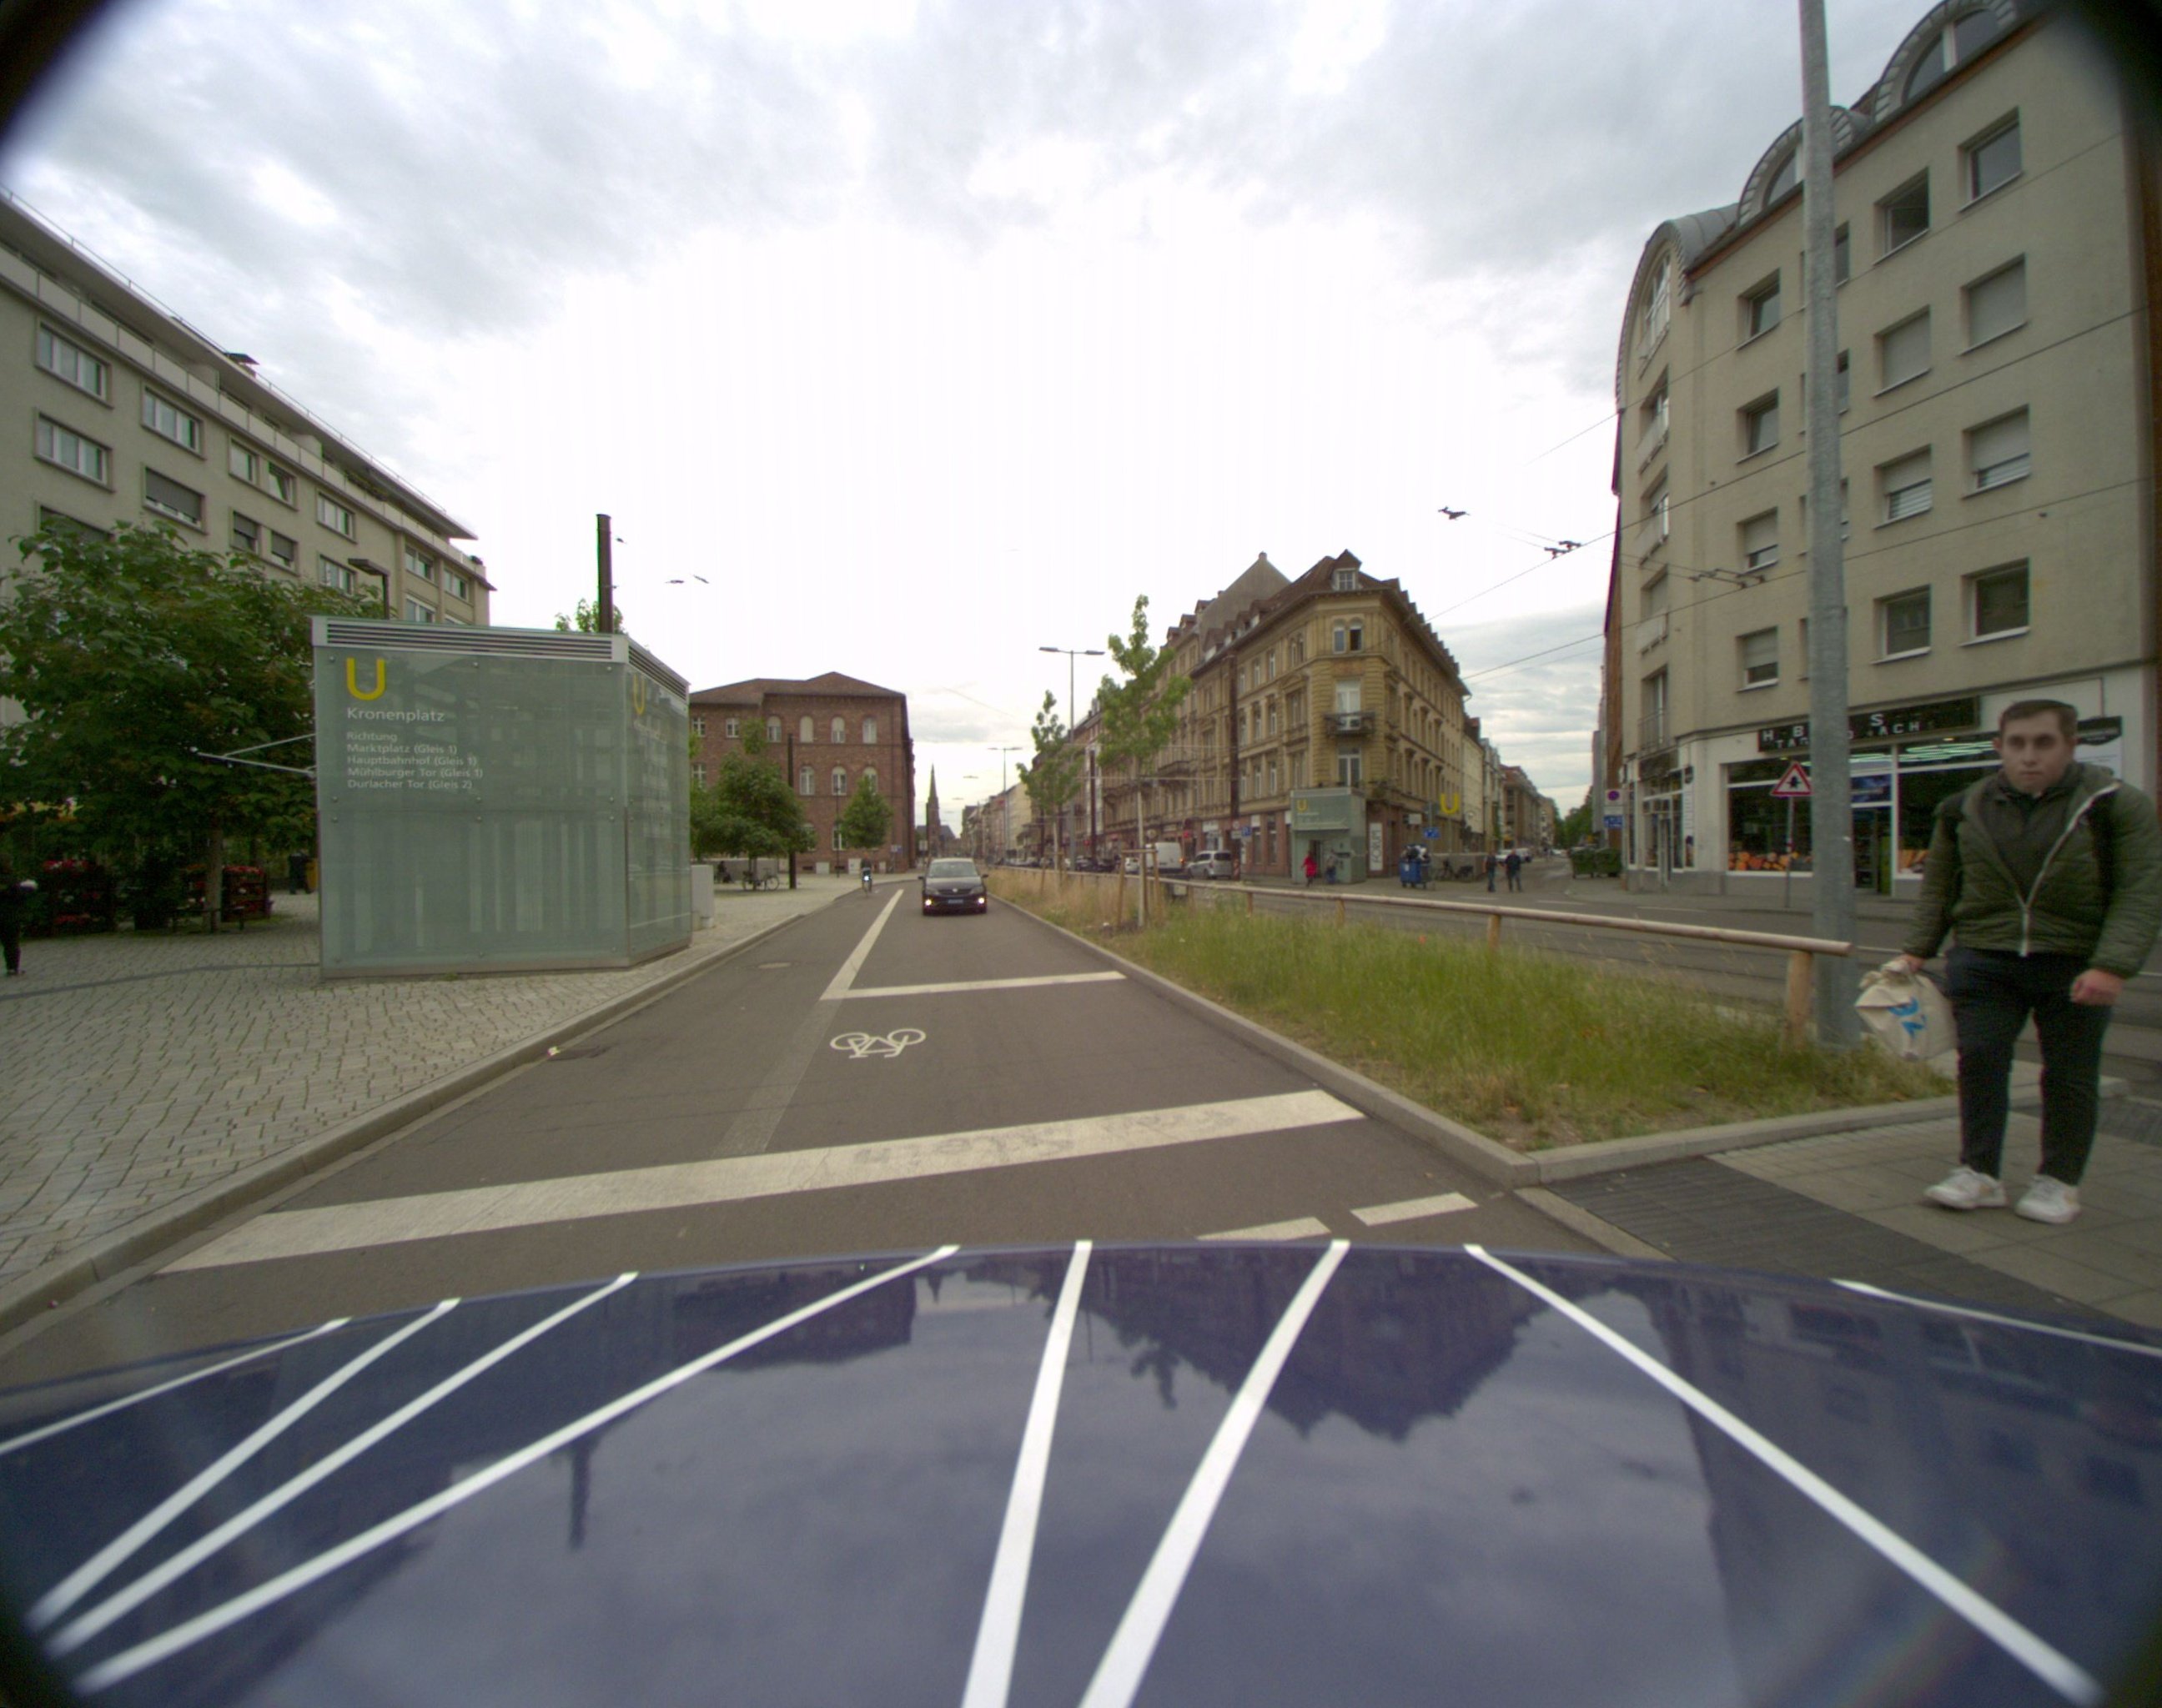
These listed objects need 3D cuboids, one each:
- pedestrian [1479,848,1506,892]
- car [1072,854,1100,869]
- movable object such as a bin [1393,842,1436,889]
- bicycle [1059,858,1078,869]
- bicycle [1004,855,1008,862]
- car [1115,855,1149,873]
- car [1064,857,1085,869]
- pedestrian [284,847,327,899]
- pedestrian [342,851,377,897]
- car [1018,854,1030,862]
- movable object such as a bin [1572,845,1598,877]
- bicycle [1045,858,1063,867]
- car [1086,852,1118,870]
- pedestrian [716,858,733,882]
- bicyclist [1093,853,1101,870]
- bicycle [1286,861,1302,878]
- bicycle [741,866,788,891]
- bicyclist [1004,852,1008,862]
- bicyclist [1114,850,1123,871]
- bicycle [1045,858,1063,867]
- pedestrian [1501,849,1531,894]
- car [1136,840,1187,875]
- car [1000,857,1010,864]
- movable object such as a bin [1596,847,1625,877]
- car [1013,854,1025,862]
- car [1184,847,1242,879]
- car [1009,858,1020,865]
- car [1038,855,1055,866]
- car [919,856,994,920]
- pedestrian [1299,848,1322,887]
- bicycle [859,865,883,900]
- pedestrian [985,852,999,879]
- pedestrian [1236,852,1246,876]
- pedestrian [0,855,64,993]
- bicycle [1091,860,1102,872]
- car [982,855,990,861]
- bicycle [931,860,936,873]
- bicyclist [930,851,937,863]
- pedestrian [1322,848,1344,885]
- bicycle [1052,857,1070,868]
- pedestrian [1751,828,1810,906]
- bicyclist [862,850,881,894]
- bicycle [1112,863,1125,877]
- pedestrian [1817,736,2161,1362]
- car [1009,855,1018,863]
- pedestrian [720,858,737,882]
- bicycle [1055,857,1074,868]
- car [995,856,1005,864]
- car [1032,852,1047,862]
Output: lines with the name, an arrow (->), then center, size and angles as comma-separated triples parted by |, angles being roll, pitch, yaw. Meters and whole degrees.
pedestrian -> 15.984, 0.606, 29.552 | 0.661, 1.677, 0.723 | 0, 2, 4
car -> 0.540, 0.811, 83.029 | 1.820, 1.680, 5.025 | 0, 0, -14
movable object such as a bin -> 14.437, 0.486, 32.930 | 1.034, 1.970, 1.616 | 0, 2, -5
bicycle -> -1.578, 1.200, 93.921 | 2.290, 1.321, 0.665 | 1, 0, -11
bicycle -> -14.419, 0.865, 146.657 | 0.587, 1.167, 2.043 | 1, 0, -10
car -> 4.313, 0.840, 65.048 | 1.777, 1.414, 4.160 | 1, 0, -13
car -> -0.810, 1.059, 90.856 | 1.750, 1.479, 3.916 | 0, 0, -12
pedestrian -> -28.711, 0.692, 28.122 | 0.774, 1.874, 0.854 | -1, 1, 27
pedestrian -> -28.033, 0.758, 29.524 | 0.774, 1.741, 0.719 | 1, 0, 27
car -> -10.338, 0.770, 137.337 | 1.750, 1.456, 4.042 | 0, 0, -12
movable object such as a bin -> 24.614, 0.342, 37.138 | 0.944, 1.492, 1.241 | -1, 1, 30
bicycle -> -3.709, 1.172, 104.013 | 2.290, 1.196, 0.704 | 1, 0, -11
car -> 2.007, 0.652, 74.061 | 1.926, 1.679, 5.046 | 1, 0, -13
pedestrian -> -22.641, 1.015, 48.246 | 0.782, 1.447, 0.766 | 1, 0, -41
bicyclist -> 1.349, 0.641, 64.584 | 0.480, 1.399, 0.811 | -1, 1, -13
bicycle -> 12.285, 0.877, 43.833 | 0.341, 0.953, 1.686 | -2, 0, -5
bicycle -> -15.056, 1.149, 36.167 | 1.919, 1.116, 0.645 | -2, 1, -1
bicyclist -> -14.477, 0.514, 146.772 | 0.647, 1.872, 1.027 | -2, 1, -10
bicyclist -> 2.836, 0.501, 57.730 | 0.493, 1.531, 0.811 | -1, 1, -13
bicycle -> -3.707, 1.217, 104.712 | 2.290, 1.196, 0.547 | -1, 1, -11
pedestrian -> 16.878, 0.667, 29.483 | 0.661, 1.677, 0.924 | 0, 2, 4
car -> 5.965, 0.247, 57.204 | 2.060, 2.472, 5.659 | 1, 0, -13
car -> -17.093, 1.454, 170.932 | 1.706, 1.662, 4.177 | -2, 0, -10
movable object such as a bin -> 25.468, 0.368, 36.538 | 1.008, 1.397, 1.241 | -1, 1, 30
car -> -11.620, 0.770, 141.895 | 1.830, 1.512, 4.541 | 0, -1, -11
car -> 8.111, 0.542, 47.003 | 1.910, 1.853, 4.515 | 1, 0, -13
car -> -13.803, 1.493, 156.824 | 1.653, 1.372, 3.432 | 0, -1, -15
car -> -4.900, 0.936, 108.510 | 1.750, 1.524, 4.221 | 0, 0, -12
car -> -3.457, 0.842, 20.643 | 1.749, 1.538, 3.646 | -1, 0, -13
pedestrian -> 10.121, 0.601, 33.555 | 0.723, 1.677, 0.661 | -1, 2, -21
bicycle -> -8.186, 1.094, 29.693 | 0.524, 1.253, 1.940 | -1, 1, -5
pedestrian -> -6.146, 0.804, 52.511 | 0.872, 1.890, 0.772 | 0, 0, -13
pedestrian -> 10.482, 0.663, 49.727 | 0.555, 1.547, 0.657 | -2, 1, 6
pedestrian -> -13.579, 0.853, 9.495 | 0.627, 1.674, 0.869 | 1, 1, -16
bicycle -> 1.286, 1.013, 64.862 | 0.481, 1.015, 1.910 | -1, 0, -13
car -> -26.385, 1.099, 211.910 | 1.869, 1.553, 3.996 | 1, 0, -11
bicycle -> -13.557, 1.099, 69.810 | 0.473, 1.151, 2.270 | -1, 0, -12
bicyclist -> -13.550, 0.274, 69.718 | 0.588, 1.164, 0.662 | -1, 1, -12
pedestrian -> 11.583, 0.552, 34.903 | 0.824, 1.677, 0.723 | 0, 2, 6
bicycle -> -2.621, 1.135, 100.114 | 2.290, 1.321, 0.665 | 1, 0, -11
pedestrian -> 15.302, 0.268, 16.636 | 0.663, 1.677, 0.721 | -1, 2, -24
bicyclist -> -8.181, 0.689, 29.659 | 0.571, 1.674, 0.793 | -1, 1, -6
bicycle -> 2.845, 1.233, 57.739 | 0.478, 1.015, 1.910 | -1, 0, -13
pedestrian -> 3.472, 0.570, 2.754 | 0.900, 1.879, 0.798 | -3, 2, -14
car -> -14.364, 1.022, 161.548 | 1.708, 1.746, 3.916 | 0, 0, -10
pedestrian -> -22.075, 1.019, 47.575 | 0.782, 1.447, 0.766 | 1, 0, -41
bicycle -> -2.068, 1.117, 96.503 | 2.290, 1.321, 0.665 | 1, 0, -11
car -> -19.306, 1.450, 181.985 | 1.930, 1.722, 3.822 | -2, 0, -12
car -> -6.526, 0.525, 118.827 | 1.750, 1.479, 3.916 | 0, 0, -11
